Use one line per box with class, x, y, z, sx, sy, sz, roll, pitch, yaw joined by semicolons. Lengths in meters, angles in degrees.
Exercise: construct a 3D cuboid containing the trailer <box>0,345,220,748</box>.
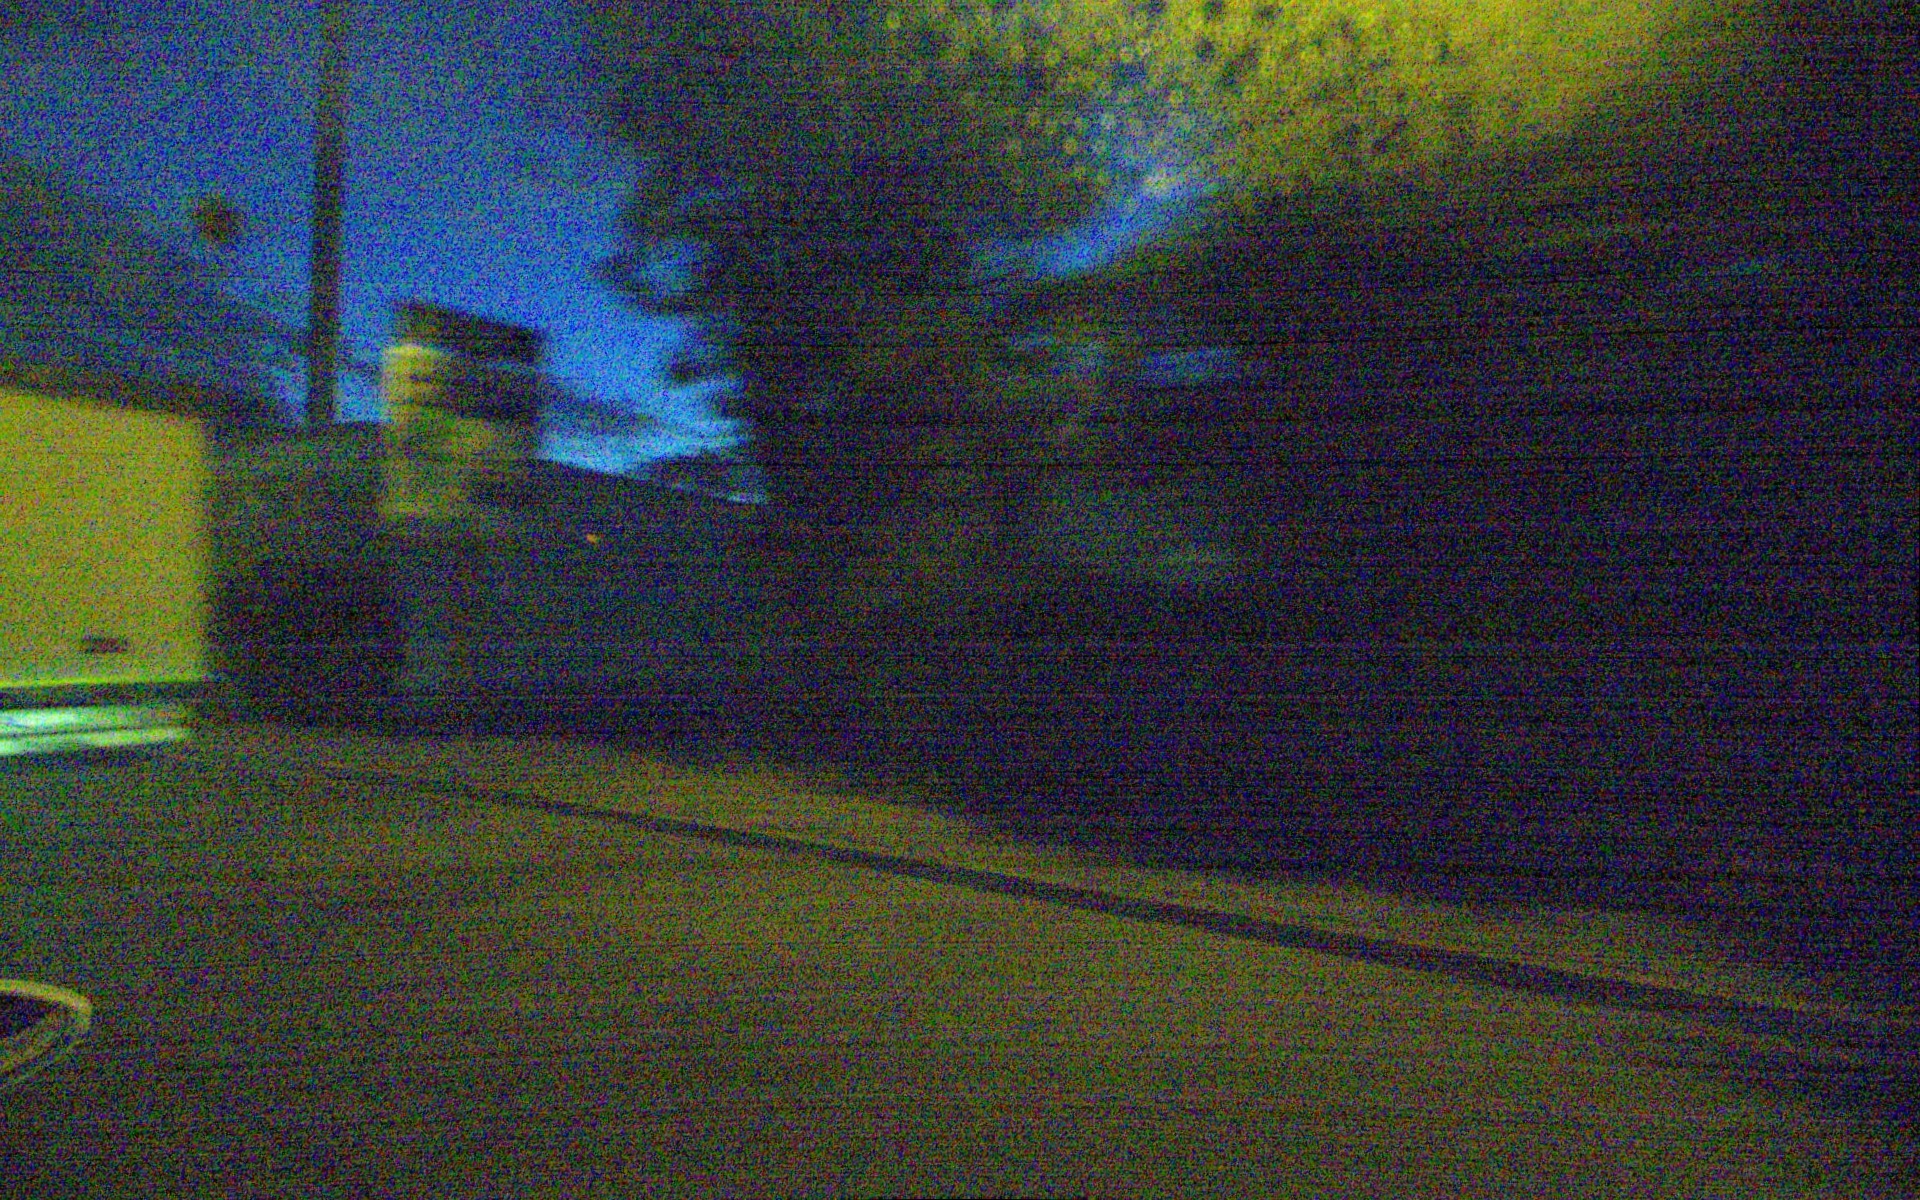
trailer;-15.281;-0.448;13.932;13.766;4.034;2.806;-1;-1;30
